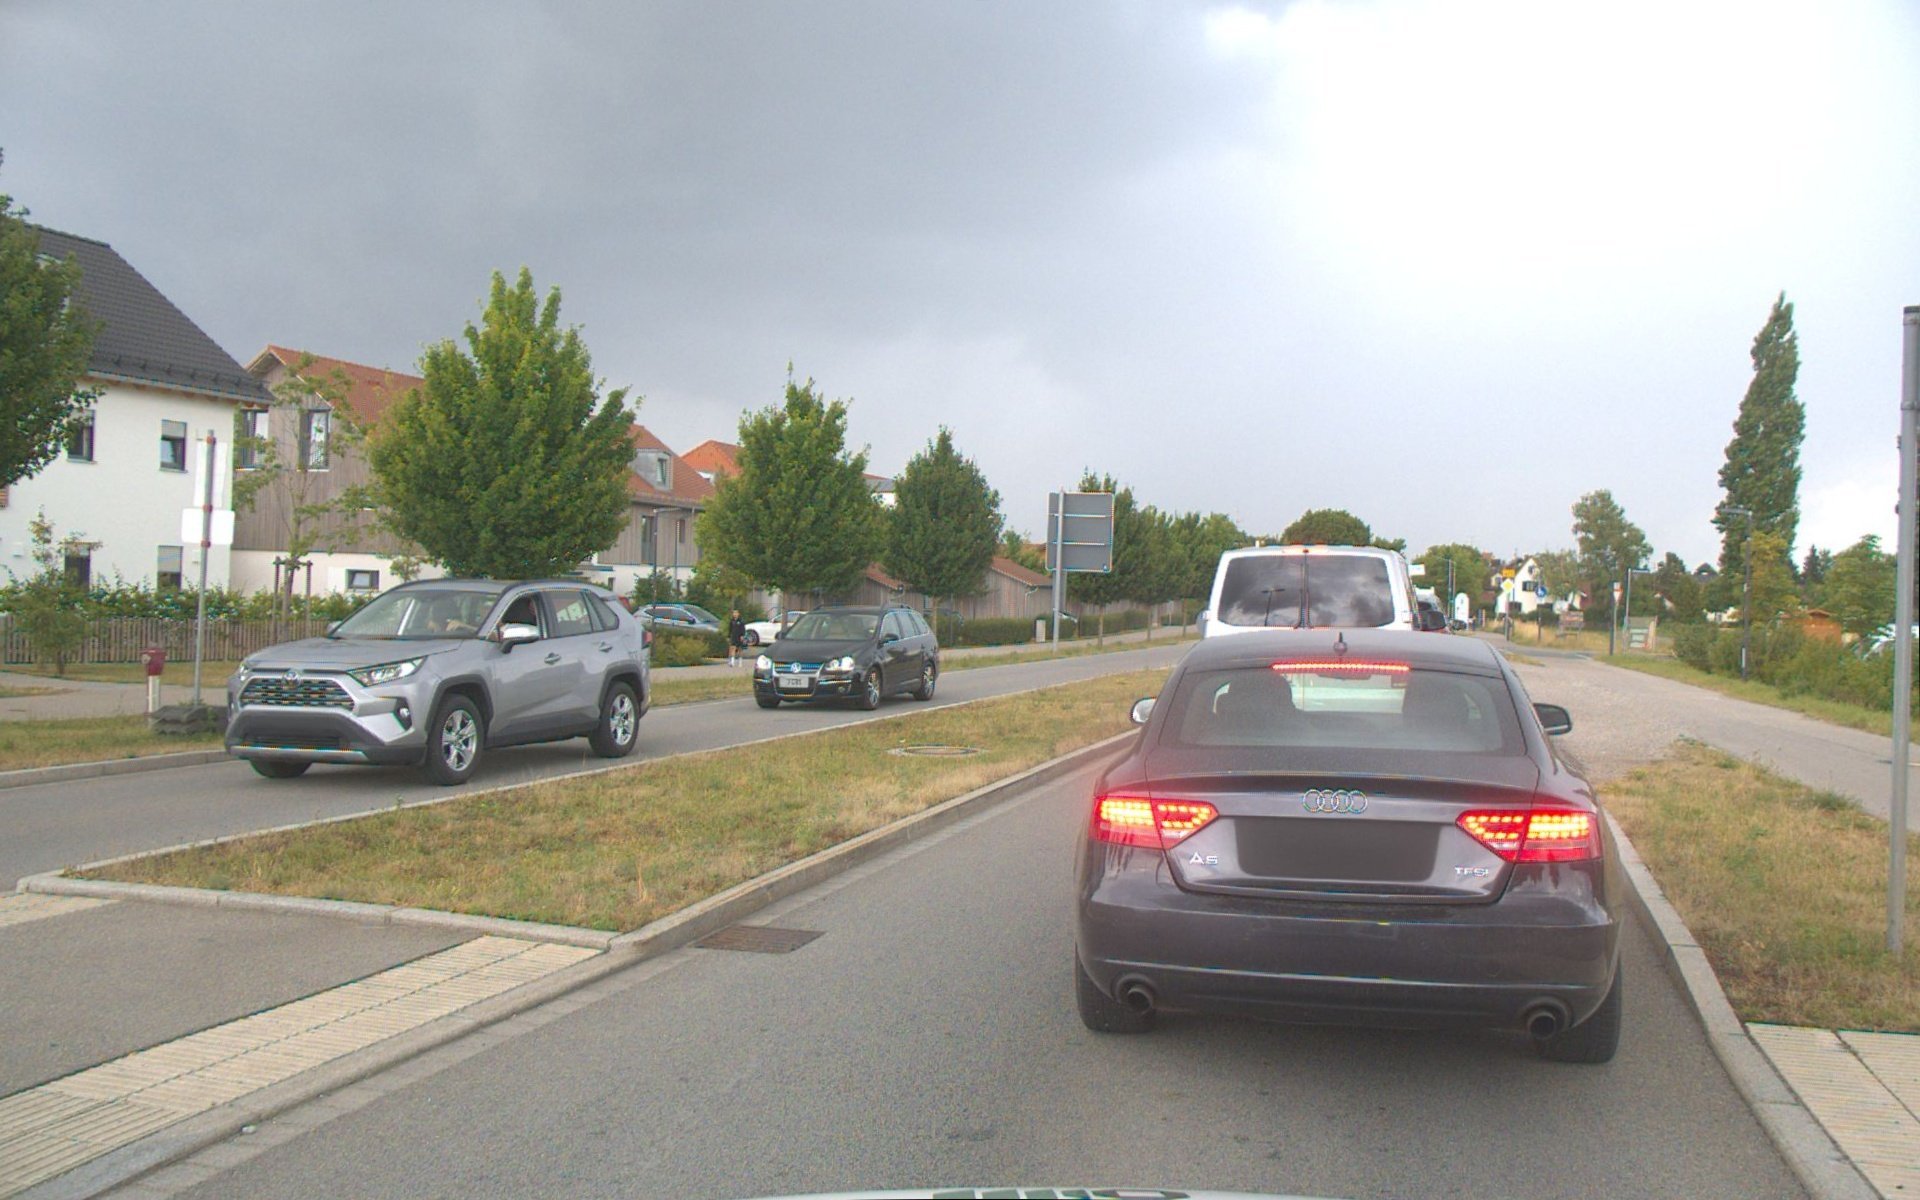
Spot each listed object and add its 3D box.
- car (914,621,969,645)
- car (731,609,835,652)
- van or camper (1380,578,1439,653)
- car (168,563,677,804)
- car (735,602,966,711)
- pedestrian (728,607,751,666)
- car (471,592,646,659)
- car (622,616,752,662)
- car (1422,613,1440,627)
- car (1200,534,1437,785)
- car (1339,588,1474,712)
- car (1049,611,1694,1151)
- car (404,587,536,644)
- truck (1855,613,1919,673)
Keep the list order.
[{"bbox_3d":[-0.880,1.562,78.732,2.419,1.046,1.186,2,0,11],"label":"car"},{"bbox_3d":[-6.904,1.188,64.627,3.650,1.508,1.688,2,0,13],"label":"car"},{"bbox_3d":[21.787,0.792,80.140,2.569,3.382,6.825,2,-1,15],"label":"van or camper"},{"bbox_3d":[-4.436,0.614,14.566,1.951,1.733,4.637,1,0,17],"label":"car"},{"bbox_3d":[-1.495,0.776,24.451,1.717,1.441,4.456,0,0,21],"label":"car"},{"bbox_3d":[-6.133,1.010,46.021,0.570,1.586,0.658,2,0,-9],"label":"pedestrian"},{"bbox_3d":[-11.445,0.709,47.192,4.436,1.709,2.000,2,0,19],"label":"car"},{"bbox_3d":[-9.110,1.284,55.279,3.831,1.338,1.844,2,0,14],"label":"car"},{"bbox_3d":[45.903,1.970,161.092,1.579,1.294,3.463,2,0,17],"label":"car"},{"bbox_3d":[3.325,0.461,15.216,1.827,1.968,4.003,1,0,13],"label":"car"},{"bbox_3d":[6.666,0.694,24.632,1.739,1.646,4.002,2,0,16],"label":"car"},{"bbox_3d":[1.606,0.765,6.639,1.746,1.416,4.136,0,0,14],"label":"car"},{"bbox_3d":[-16.638,0.538,56.358,1.953,1.803,4.465,2,0,21],"label":"car"},{"bbox_3d":[32.585,1.497,54.804,4.694,1.905,2.002,2,0,12],"label":"truck"}]
